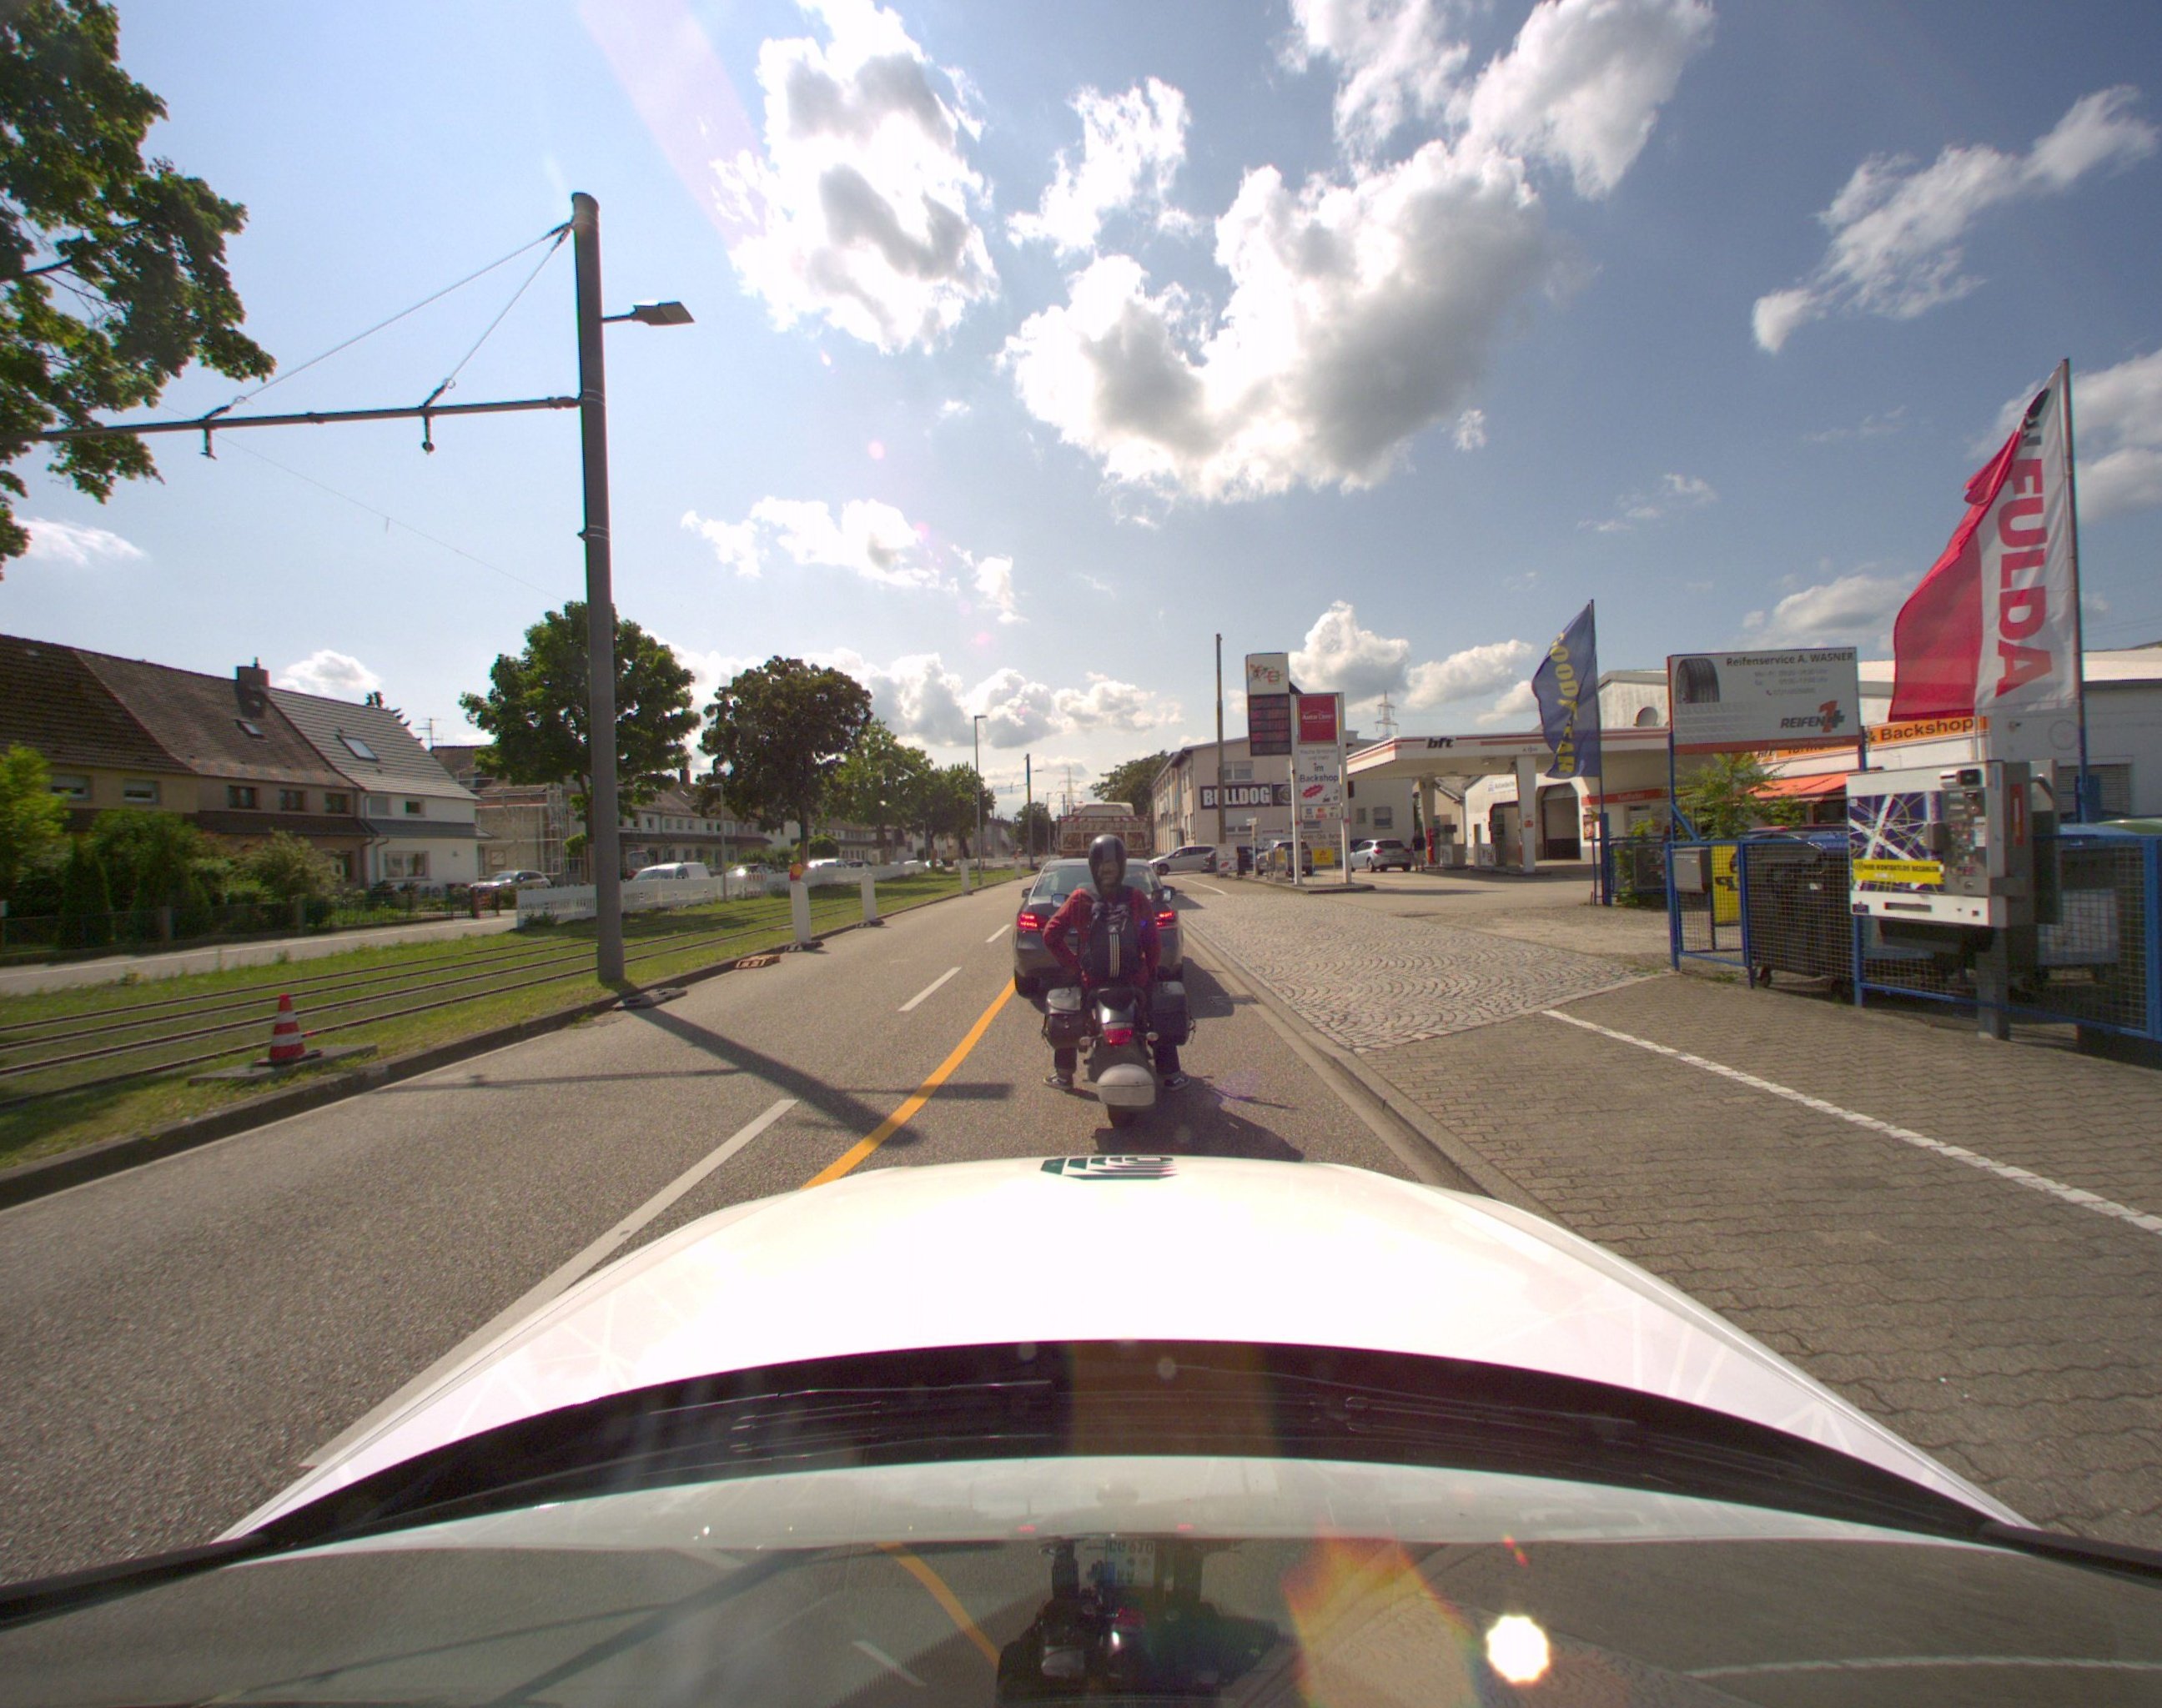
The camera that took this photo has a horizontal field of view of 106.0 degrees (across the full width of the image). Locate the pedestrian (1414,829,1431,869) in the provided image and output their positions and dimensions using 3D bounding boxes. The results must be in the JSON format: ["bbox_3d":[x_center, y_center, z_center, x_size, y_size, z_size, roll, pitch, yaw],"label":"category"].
[{"bbox_3d":[14.846,-0.212,35.399,0.628,1.683,0.626,-2,0,23],"label":"pedestrian"}]

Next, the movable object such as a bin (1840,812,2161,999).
[{"bbox_3d":[8.108,0.413,7.290,1.222,1.454,1.455,-2,0,0],"label":"movable object such as a bin"}]

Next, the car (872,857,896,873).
[{"bbox_3d":[-24.045,1.332,99.352,1.692,1.739,4.064,-2,0,2],"label":"car"}]

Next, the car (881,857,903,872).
[{"bbox_3d":[-24.374,1.340,105.375,1.692,1.739,4.064,-2,0,2],"label":"car"}]

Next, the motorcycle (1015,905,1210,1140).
[{"bbox_3d":[0.199,0.929,5.324,0.972,1.013,2.433,-1,0,2],"label":"motorcycle"}]

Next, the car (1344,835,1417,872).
[{"bbox_3d":[13.542,-0.025,37.079,1.826,1.479,4.009,-3,0,1],"label":"car"}]

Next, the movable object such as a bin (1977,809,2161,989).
[{"bbox_3d":[9.453,0.332,7.201,1.425,1.454,1.455,-2,0,0],"label":"movable object such as a bin"}]

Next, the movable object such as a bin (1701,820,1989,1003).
[{"bbox_3d":[6.829,0.467,7.415,1.222,1.454,1.455,-2,0,0],"label":"movable object such as a bin"}]

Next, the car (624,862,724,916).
[{"bbox_3d":[-15.414,1.274,31.067,1.692,1.817,3.862,-2,0,2],"label":"car"}]

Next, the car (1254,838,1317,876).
[{"bbox_3d":[9.098,0.118,36.587,1.826,1.536,4.009,-3,0,1],"label":"car"}]

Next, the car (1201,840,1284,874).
[{"bbox_3d":[8.661,0.178,43.962,4.093,1.624,1.685,-2,0,-1],"label":"car"}]

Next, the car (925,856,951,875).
[{"bbox_3d":[-14.077,1.143,80.396,1.692,1.739,3.862,-2,0,2],"label":"car"}]

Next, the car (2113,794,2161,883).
[{"bbox_3d":[26.356,-0.435,18.196,3.972,2.013,2.001,-2,0,1],"label":"car"}]

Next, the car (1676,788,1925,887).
[{"bbox_3d":[16.606,-0.374,18.972,3.972,2.013,2.001,-2,0,1],"label":"car"}]

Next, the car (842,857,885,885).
[{"bbox_3d":[-14.864,1.136,55.768,1.692,1.739,3.862,-2,0,2],"label":"car"}]

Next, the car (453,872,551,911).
[{"bbox_3d":[-27.475,1.726,38.803,1.692,1.593,3.862,-2,0,2],"label":"car"}]

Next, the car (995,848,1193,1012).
[{"bbox_3d":[0.154,0.718,9.794,1.826,1.479,4.009,-3,0,1],"label":"car"}]

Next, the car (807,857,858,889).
[{"bbox_3d":[-15.035,1.106,49.401,1.692,1.739,3.862,-2,0,2],"label":"car"}]

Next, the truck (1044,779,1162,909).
[{"bbox_3d":[0.646,-0.285,25.615,2.960,3.304,8.407,-2,0,1],"label":"truck"}]

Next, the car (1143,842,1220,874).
[{"bbox_3d":[5.770,0.225,47.059,4.101,1.624,1.682,-3,0,-7],"label":"car"}]

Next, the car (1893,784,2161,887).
[{"bbox_3d":[21.253,-0.403,18.280,3.972,2.013,2.001,-2,0,1],"label":"car"}]

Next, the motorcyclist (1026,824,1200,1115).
[{"bbox_3d":[0.198,0.650,5.206,0.966,1.633,1.215,-1,0,1],"label":"motorcyclist"}]

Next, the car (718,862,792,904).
[{"bbox_3d":[-15.321,1.321,38.497,1.692,1.739,4.056,-2,0,2],"label":"car"}]
